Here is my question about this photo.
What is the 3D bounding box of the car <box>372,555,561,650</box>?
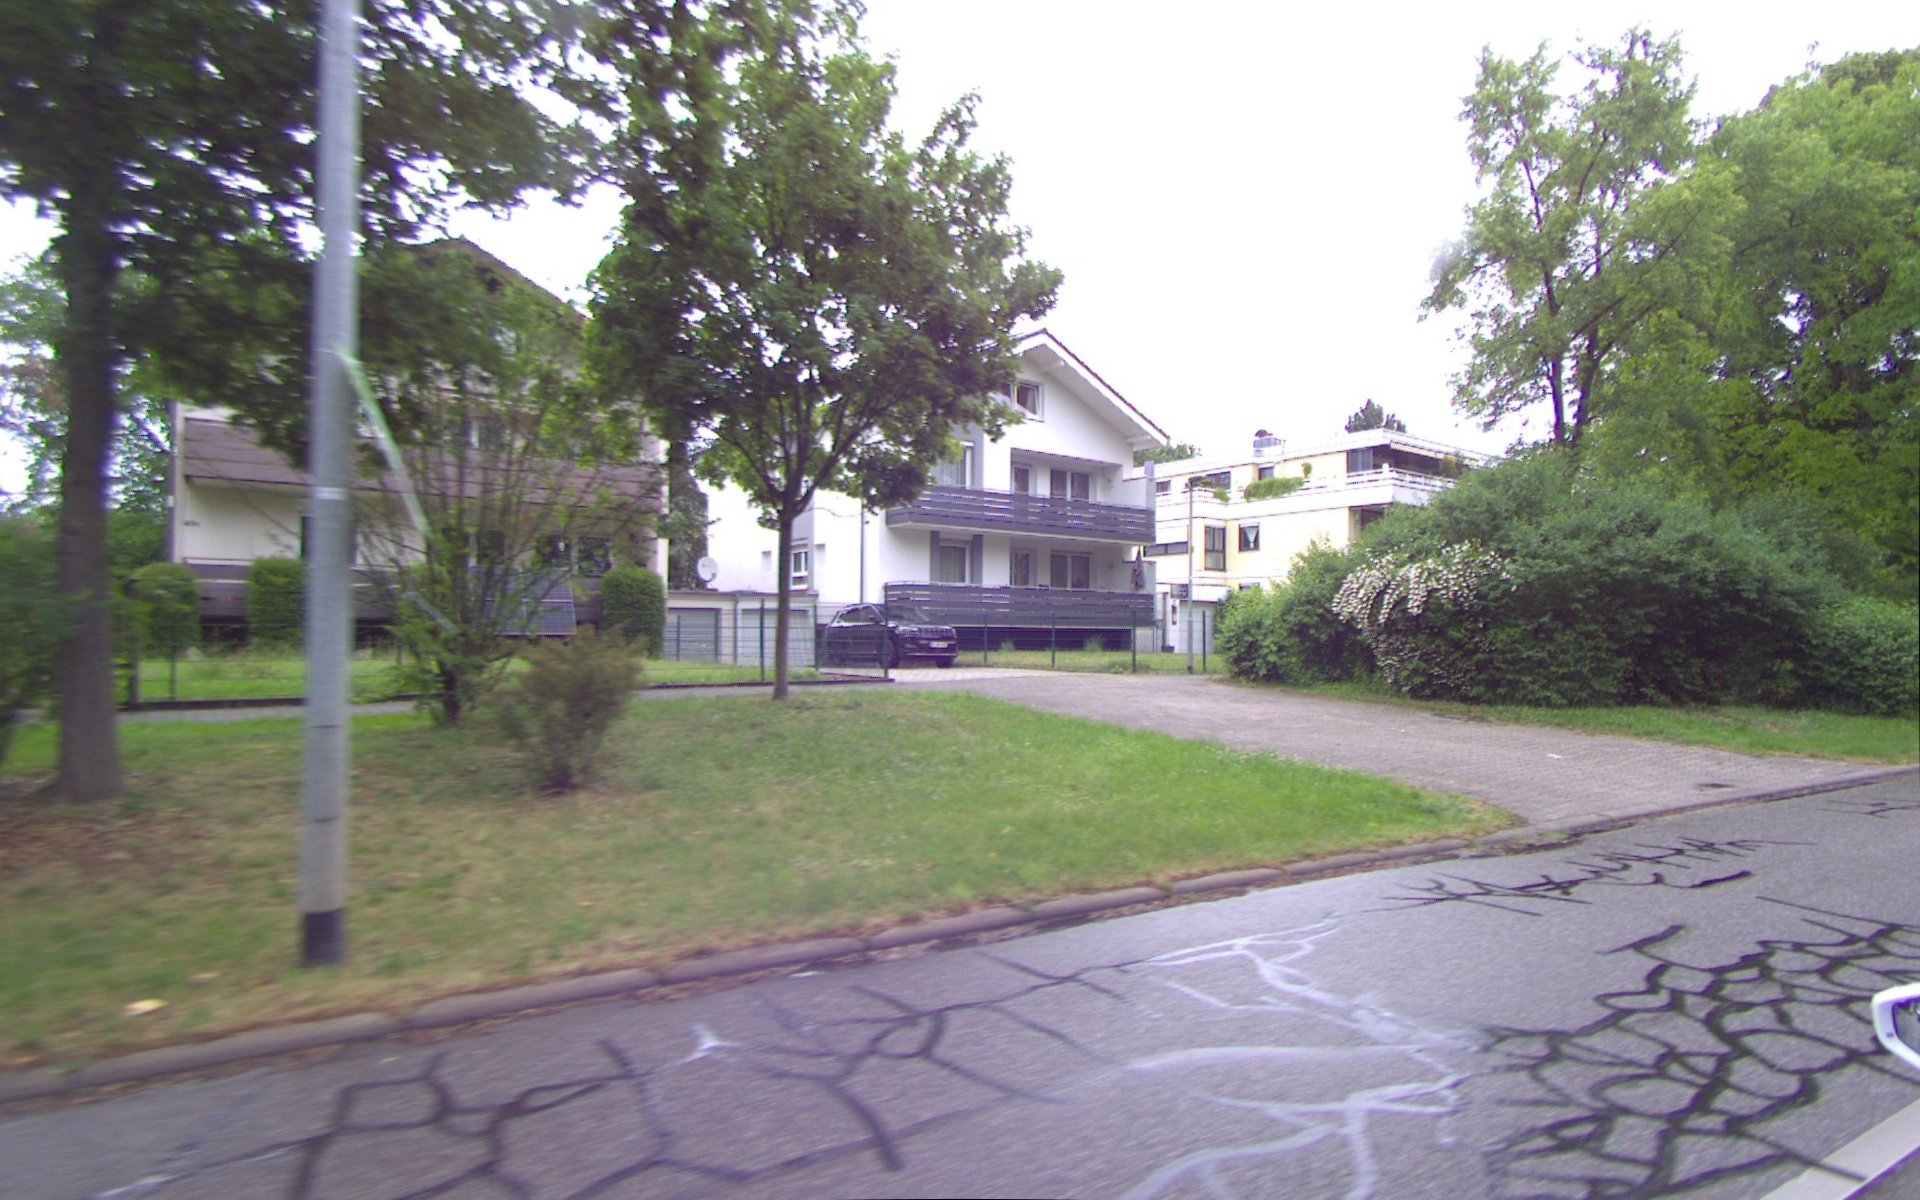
[{"bbox_3d":[-12.486,0.031,25.155,3.444,2.065,5.706,1,1,-35],"label":"car"}]

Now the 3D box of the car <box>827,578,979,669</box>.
[{"bbox_3d":[-1.484,0.607,24.902,1.980,2.040,3.961,1,-2,-35],"label":"car"}]
